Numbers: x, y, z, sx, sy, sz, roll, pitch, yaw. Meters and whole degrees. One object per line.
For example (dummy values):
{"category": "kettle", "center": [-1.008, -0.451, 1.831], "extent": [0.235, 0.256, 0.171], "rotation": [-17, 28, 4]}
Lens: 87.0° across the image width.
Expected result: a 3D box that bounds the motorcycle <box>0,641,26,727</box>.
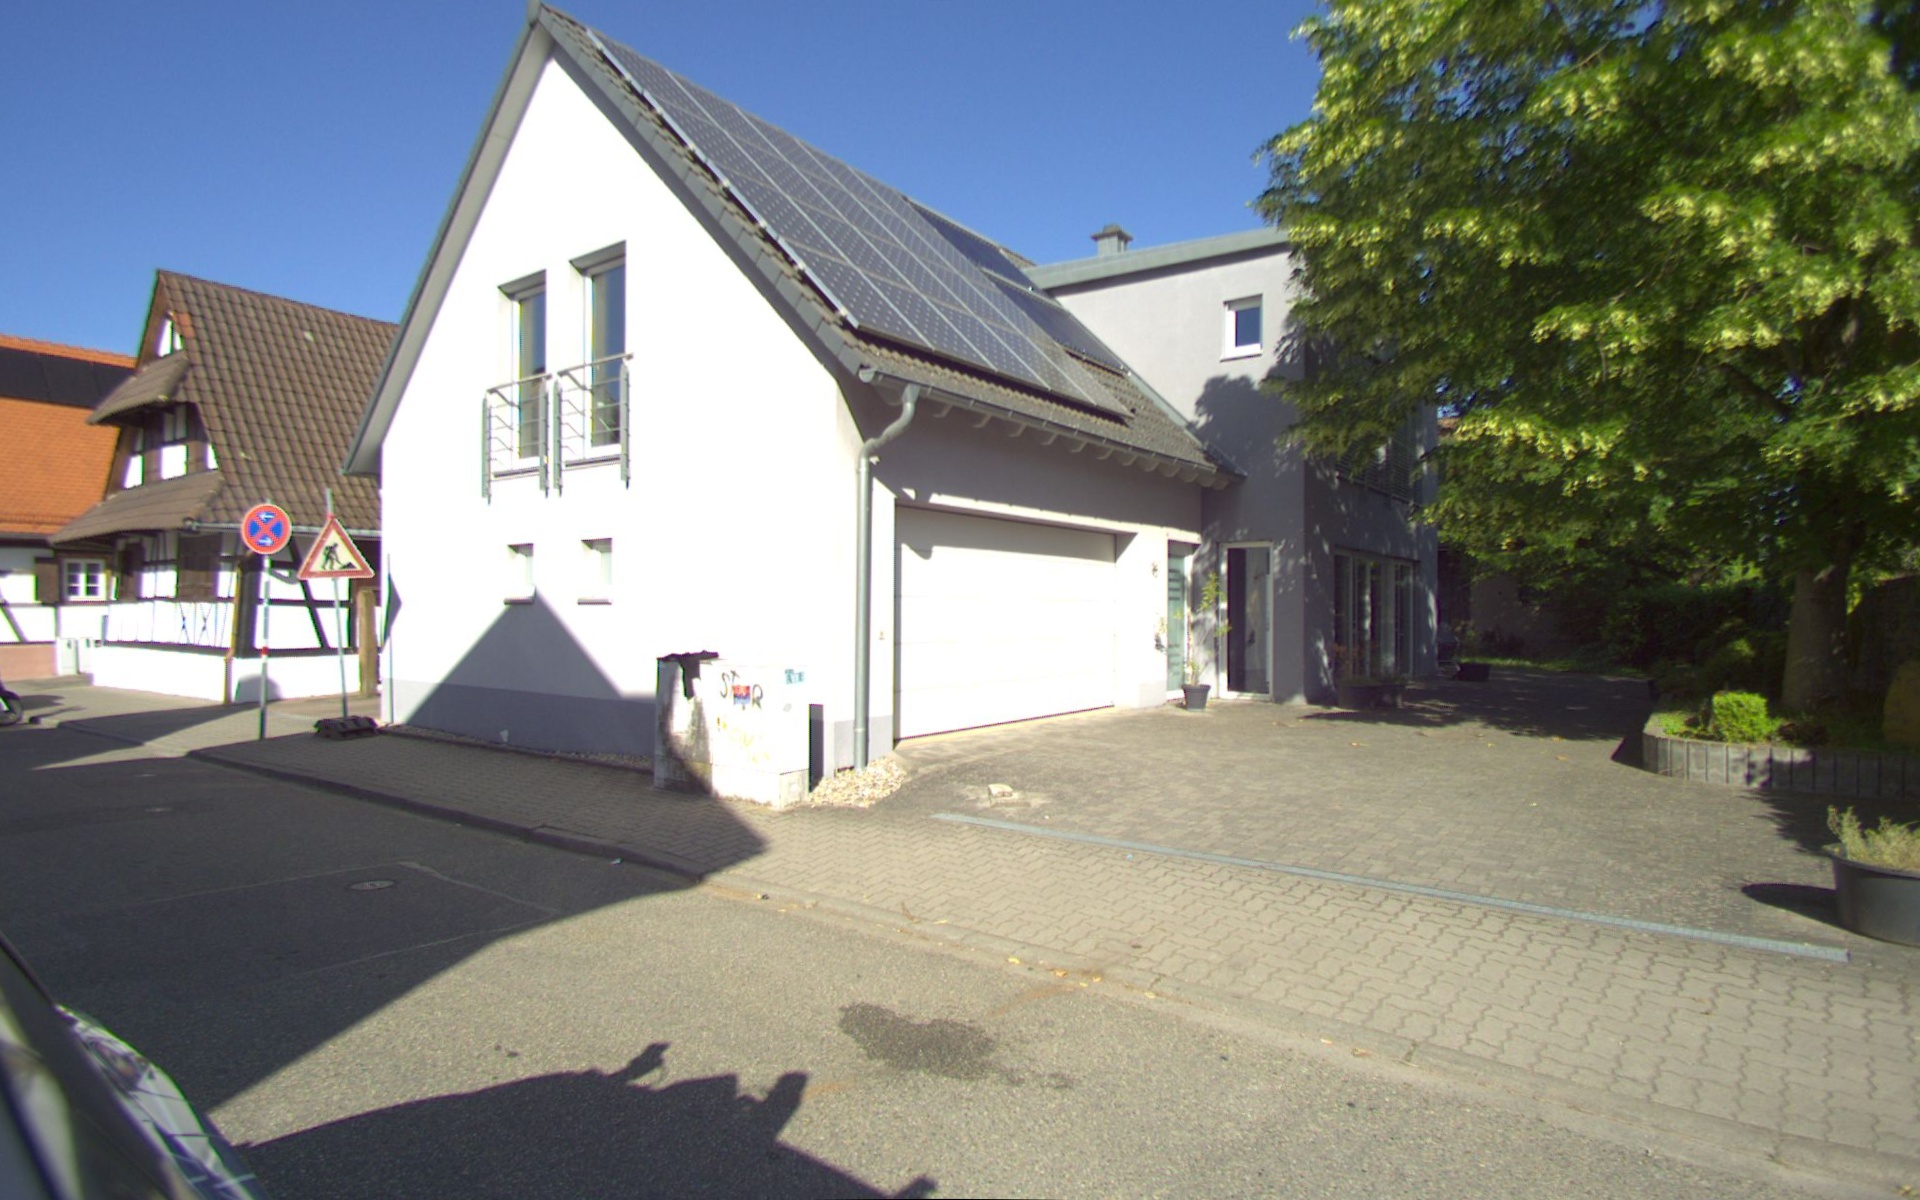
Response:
{"category": "motorcycle", "center": [-14.858, 1.223, 14.594], "extent": [1.961, 1.241, 0.628], "rotation": [0, -2, -14]}
